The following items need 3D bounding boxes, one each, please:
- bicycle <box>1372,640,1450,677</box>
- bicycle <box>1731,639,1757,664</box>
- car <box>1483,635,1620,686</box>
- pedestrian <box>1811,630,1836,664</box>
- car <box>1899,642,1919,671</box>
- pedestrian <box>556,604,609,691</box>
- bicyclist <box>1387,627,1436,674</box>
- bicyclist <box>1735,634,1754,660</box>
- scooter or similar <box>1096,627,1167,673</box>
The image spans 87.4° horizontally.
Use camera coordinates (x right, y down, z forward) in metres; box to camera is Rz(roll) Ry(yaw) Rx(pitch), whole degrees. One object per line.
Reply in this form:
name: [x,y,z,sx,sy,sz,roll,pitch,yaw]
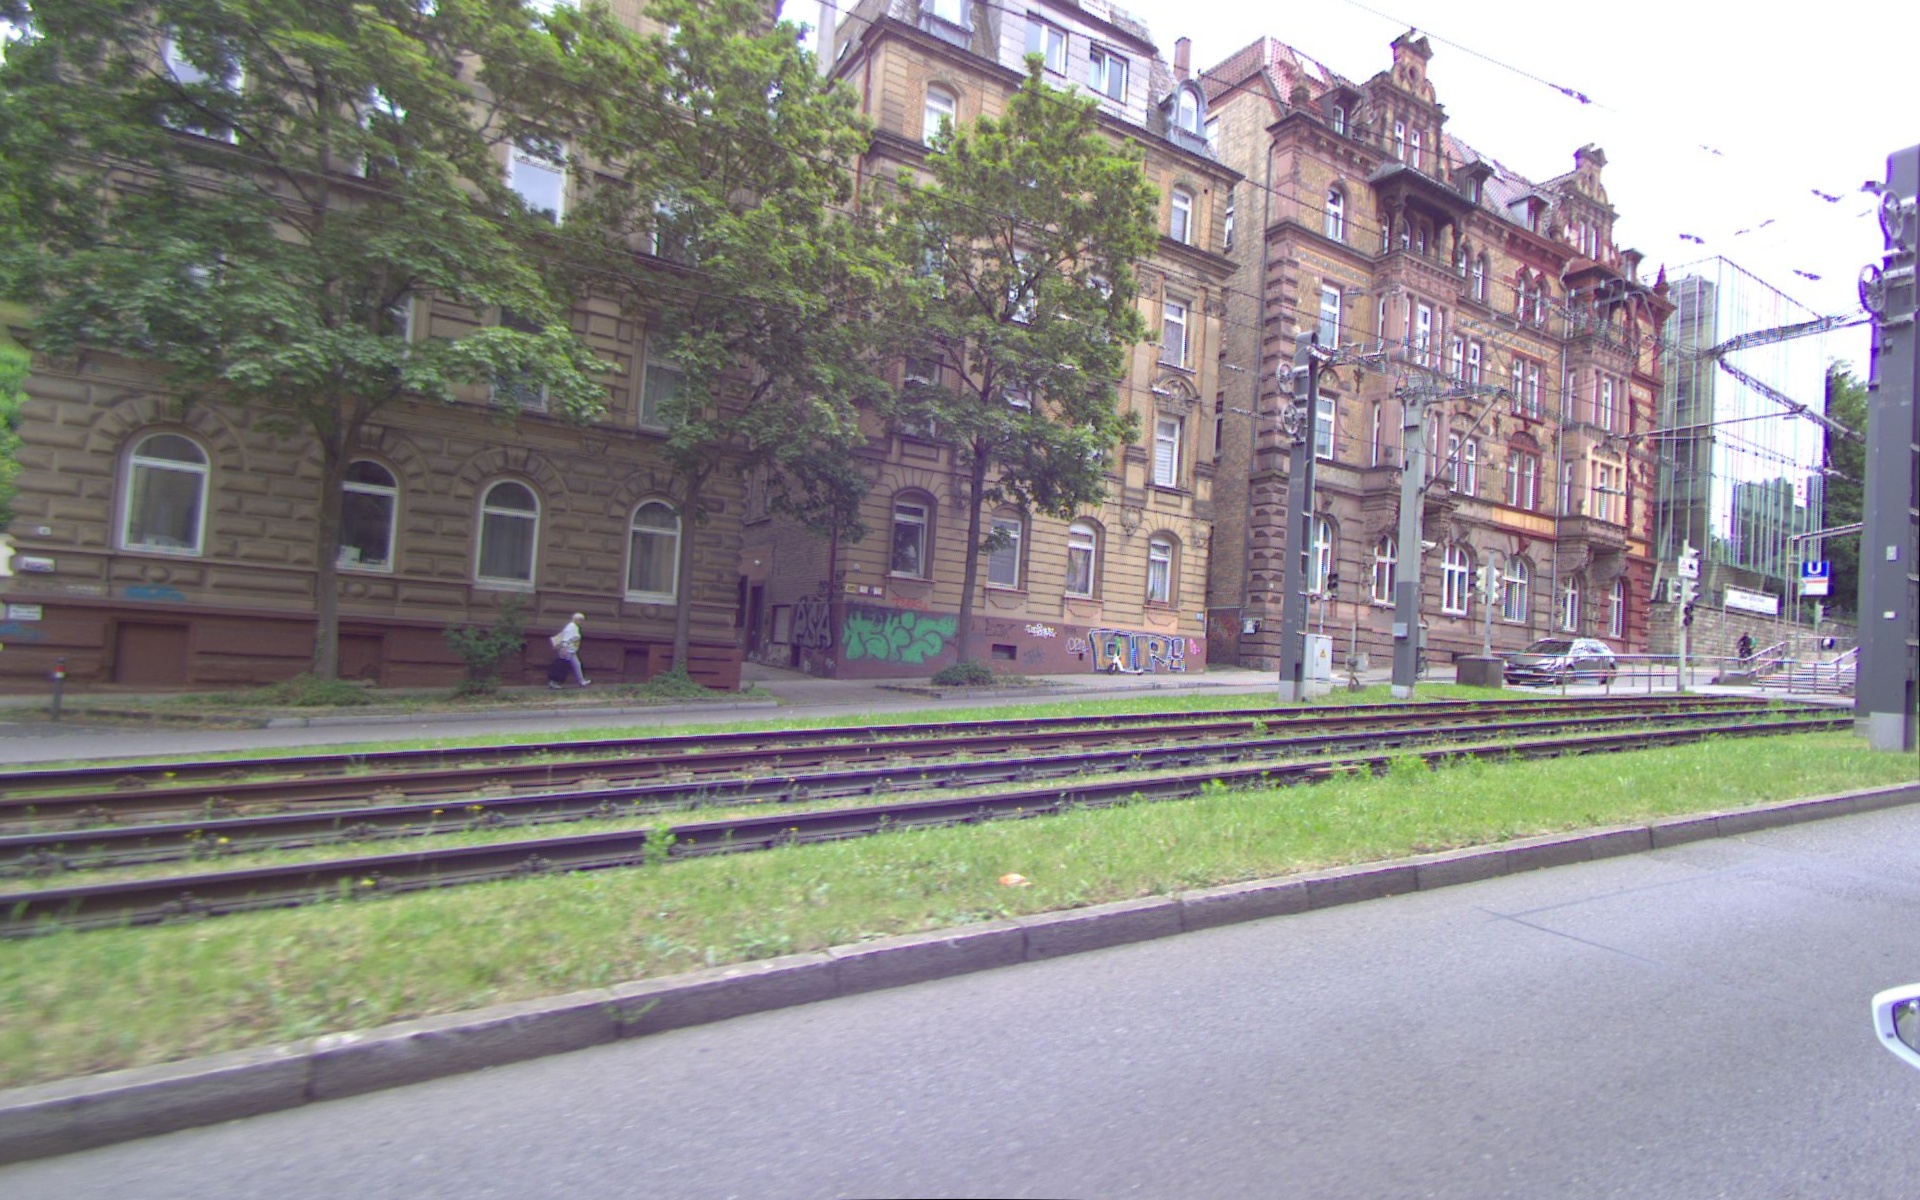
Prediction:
bicycle: [14.433,1.864,32.133,2.672,1.114,0.933,1,-1,-31]
bicycle: [37.697,2.468,48.291,1.288,1.158,0.570,1,-1,-30]
car: [18.168,1.823,30.838,3.953,1.421,1.984,2,-1,-30]
pedestrian: [46.319,2.511,53.870,0.807,1.778,0.805,1,-1,-30]
car: [49.820,2.884,51.178,3.953,1.421,1.822,2,-1,-30]
pedestrian: [-7.670,0.955,20.404,0.839,1.706,0.827,1,-2,-33]
bicyclist: [14.466,1.601,32.166,1.174,1.444,0.933,1,-1,-31]
bicyclist: [37.702,2.247,48.291,0.648,1.207,0.516,1,-1,-30]
scooter or similar: [4.932,1.431,28.833,2.192,1.271,0.625,1,-1,-34]
